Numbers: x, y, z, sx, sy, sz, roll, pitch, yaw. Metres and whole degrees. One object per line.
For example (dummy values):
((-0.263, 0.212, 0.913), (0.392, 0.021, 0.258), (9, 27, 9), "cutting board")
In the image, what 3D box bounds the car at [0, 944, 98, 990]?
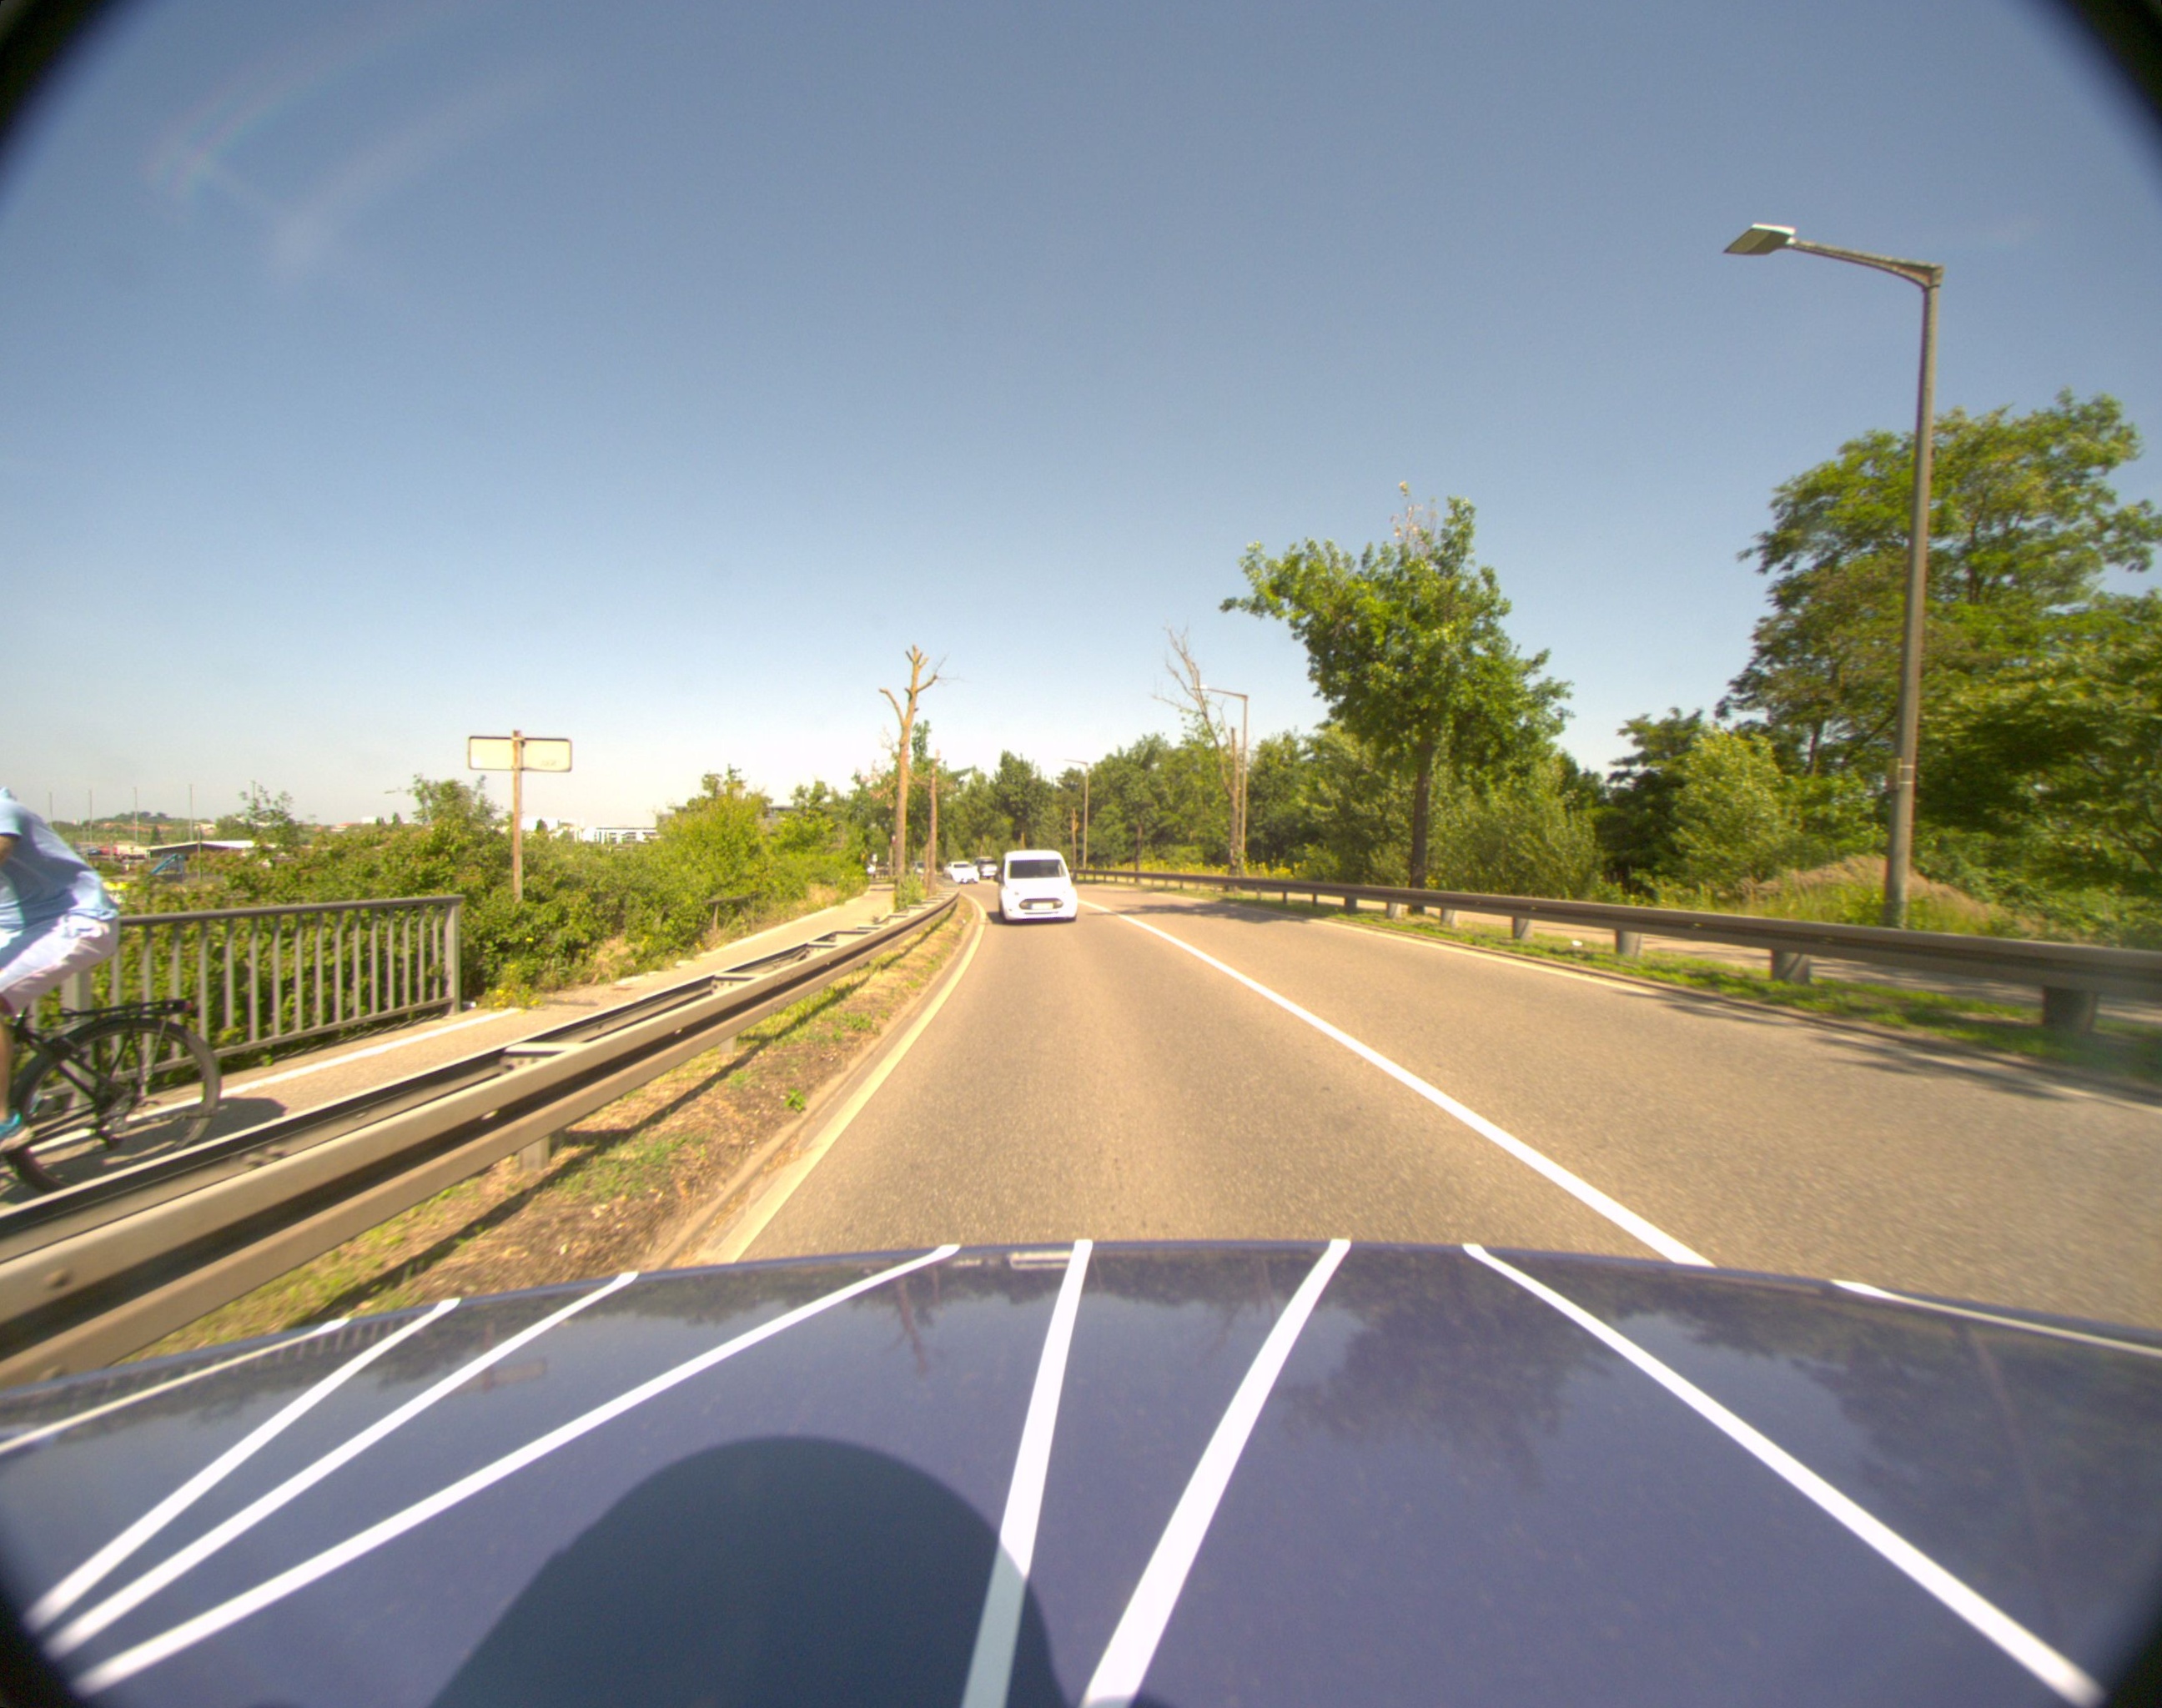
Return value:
((-57.721, 6.244, 42.171), (2.001, 1.860, 3.992), (-7, 2, -23), "car")

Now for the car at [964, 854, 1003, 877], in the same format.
((-7.598, 0.877, 58.790), (1.938, 1.525, 4.109), (-3, 2, -22), "car")

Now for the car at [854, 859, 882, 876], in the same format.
((-23.776, 1.438, 84.679), (2.003, 1.757, 3.991), (-3, 1, -29), "car")

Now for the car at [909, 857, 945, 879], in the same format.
((-12.806, 1.109, 62.979), (2.002, 1.576, 3.991), (-3, 2, -24), "car")

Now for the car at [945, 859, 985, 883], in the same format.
((-7.925, 1.133, 51.591), (1.849, 1.479, 4.145), (-2, 0, -20), "car")

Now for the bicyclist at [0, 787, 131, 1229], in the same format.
((-3.998, 0.518, 2.533), (0.660, 1.511, 0.802), (2, 1, -5), "bicyclist")

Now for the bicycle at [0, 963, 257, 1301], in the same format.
((-4.045, 1.019, 2.512), (0.704, 1.014, 1.845), (2, 1, -4), "bicycle")

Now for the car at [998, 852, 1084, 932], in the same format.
((-1.160, 0.873, 19.772), (1.898, 1.785, 4.444), (-2, 0, -7), "car")
